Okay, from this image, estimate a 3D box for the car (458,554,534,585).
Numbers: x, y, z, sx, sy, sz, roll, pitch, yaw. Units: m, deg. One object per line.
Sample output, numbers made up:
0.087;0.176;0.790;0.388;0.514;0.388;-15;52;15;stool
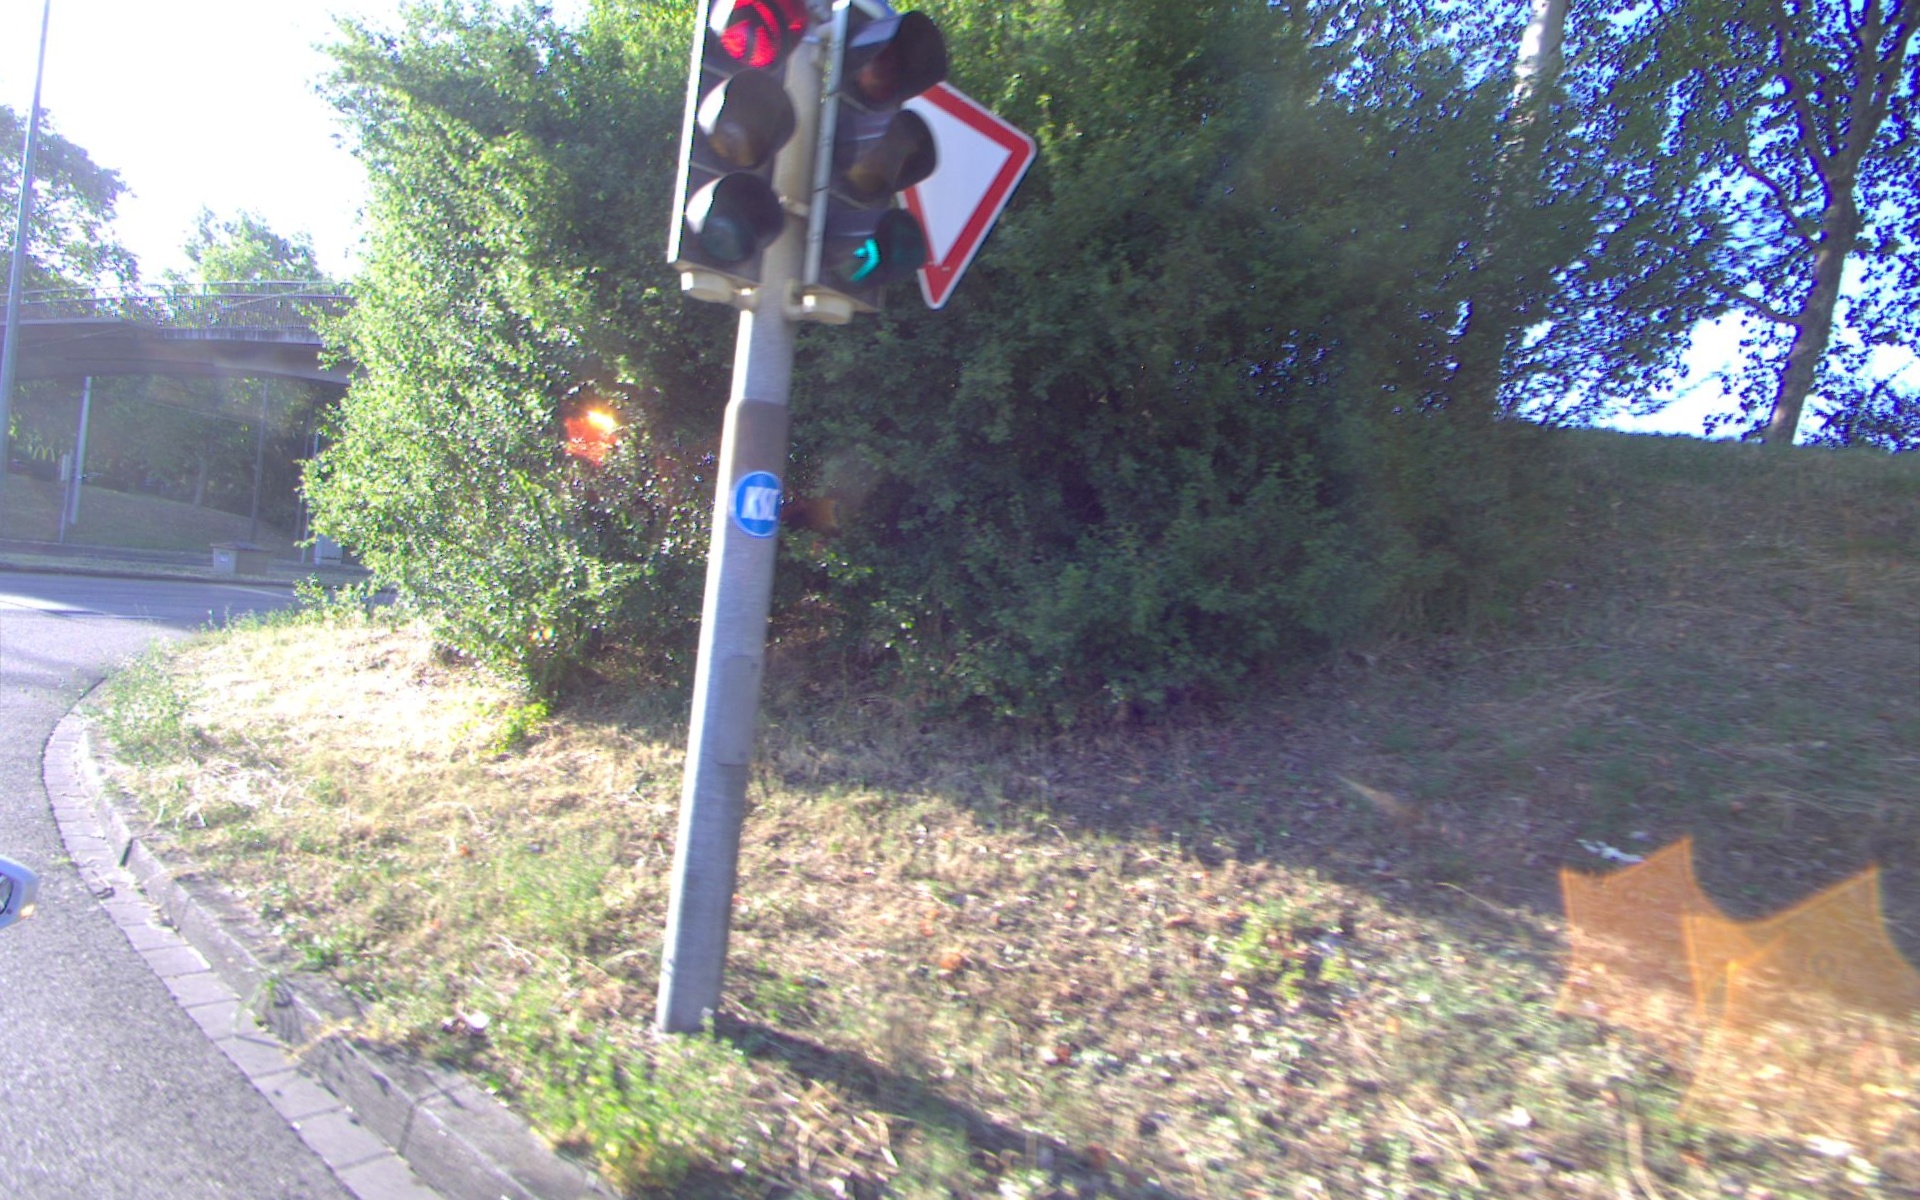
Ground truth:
-30.765;-1.981;66.839;1.973;1.461;4.864;7;-1;11;car
